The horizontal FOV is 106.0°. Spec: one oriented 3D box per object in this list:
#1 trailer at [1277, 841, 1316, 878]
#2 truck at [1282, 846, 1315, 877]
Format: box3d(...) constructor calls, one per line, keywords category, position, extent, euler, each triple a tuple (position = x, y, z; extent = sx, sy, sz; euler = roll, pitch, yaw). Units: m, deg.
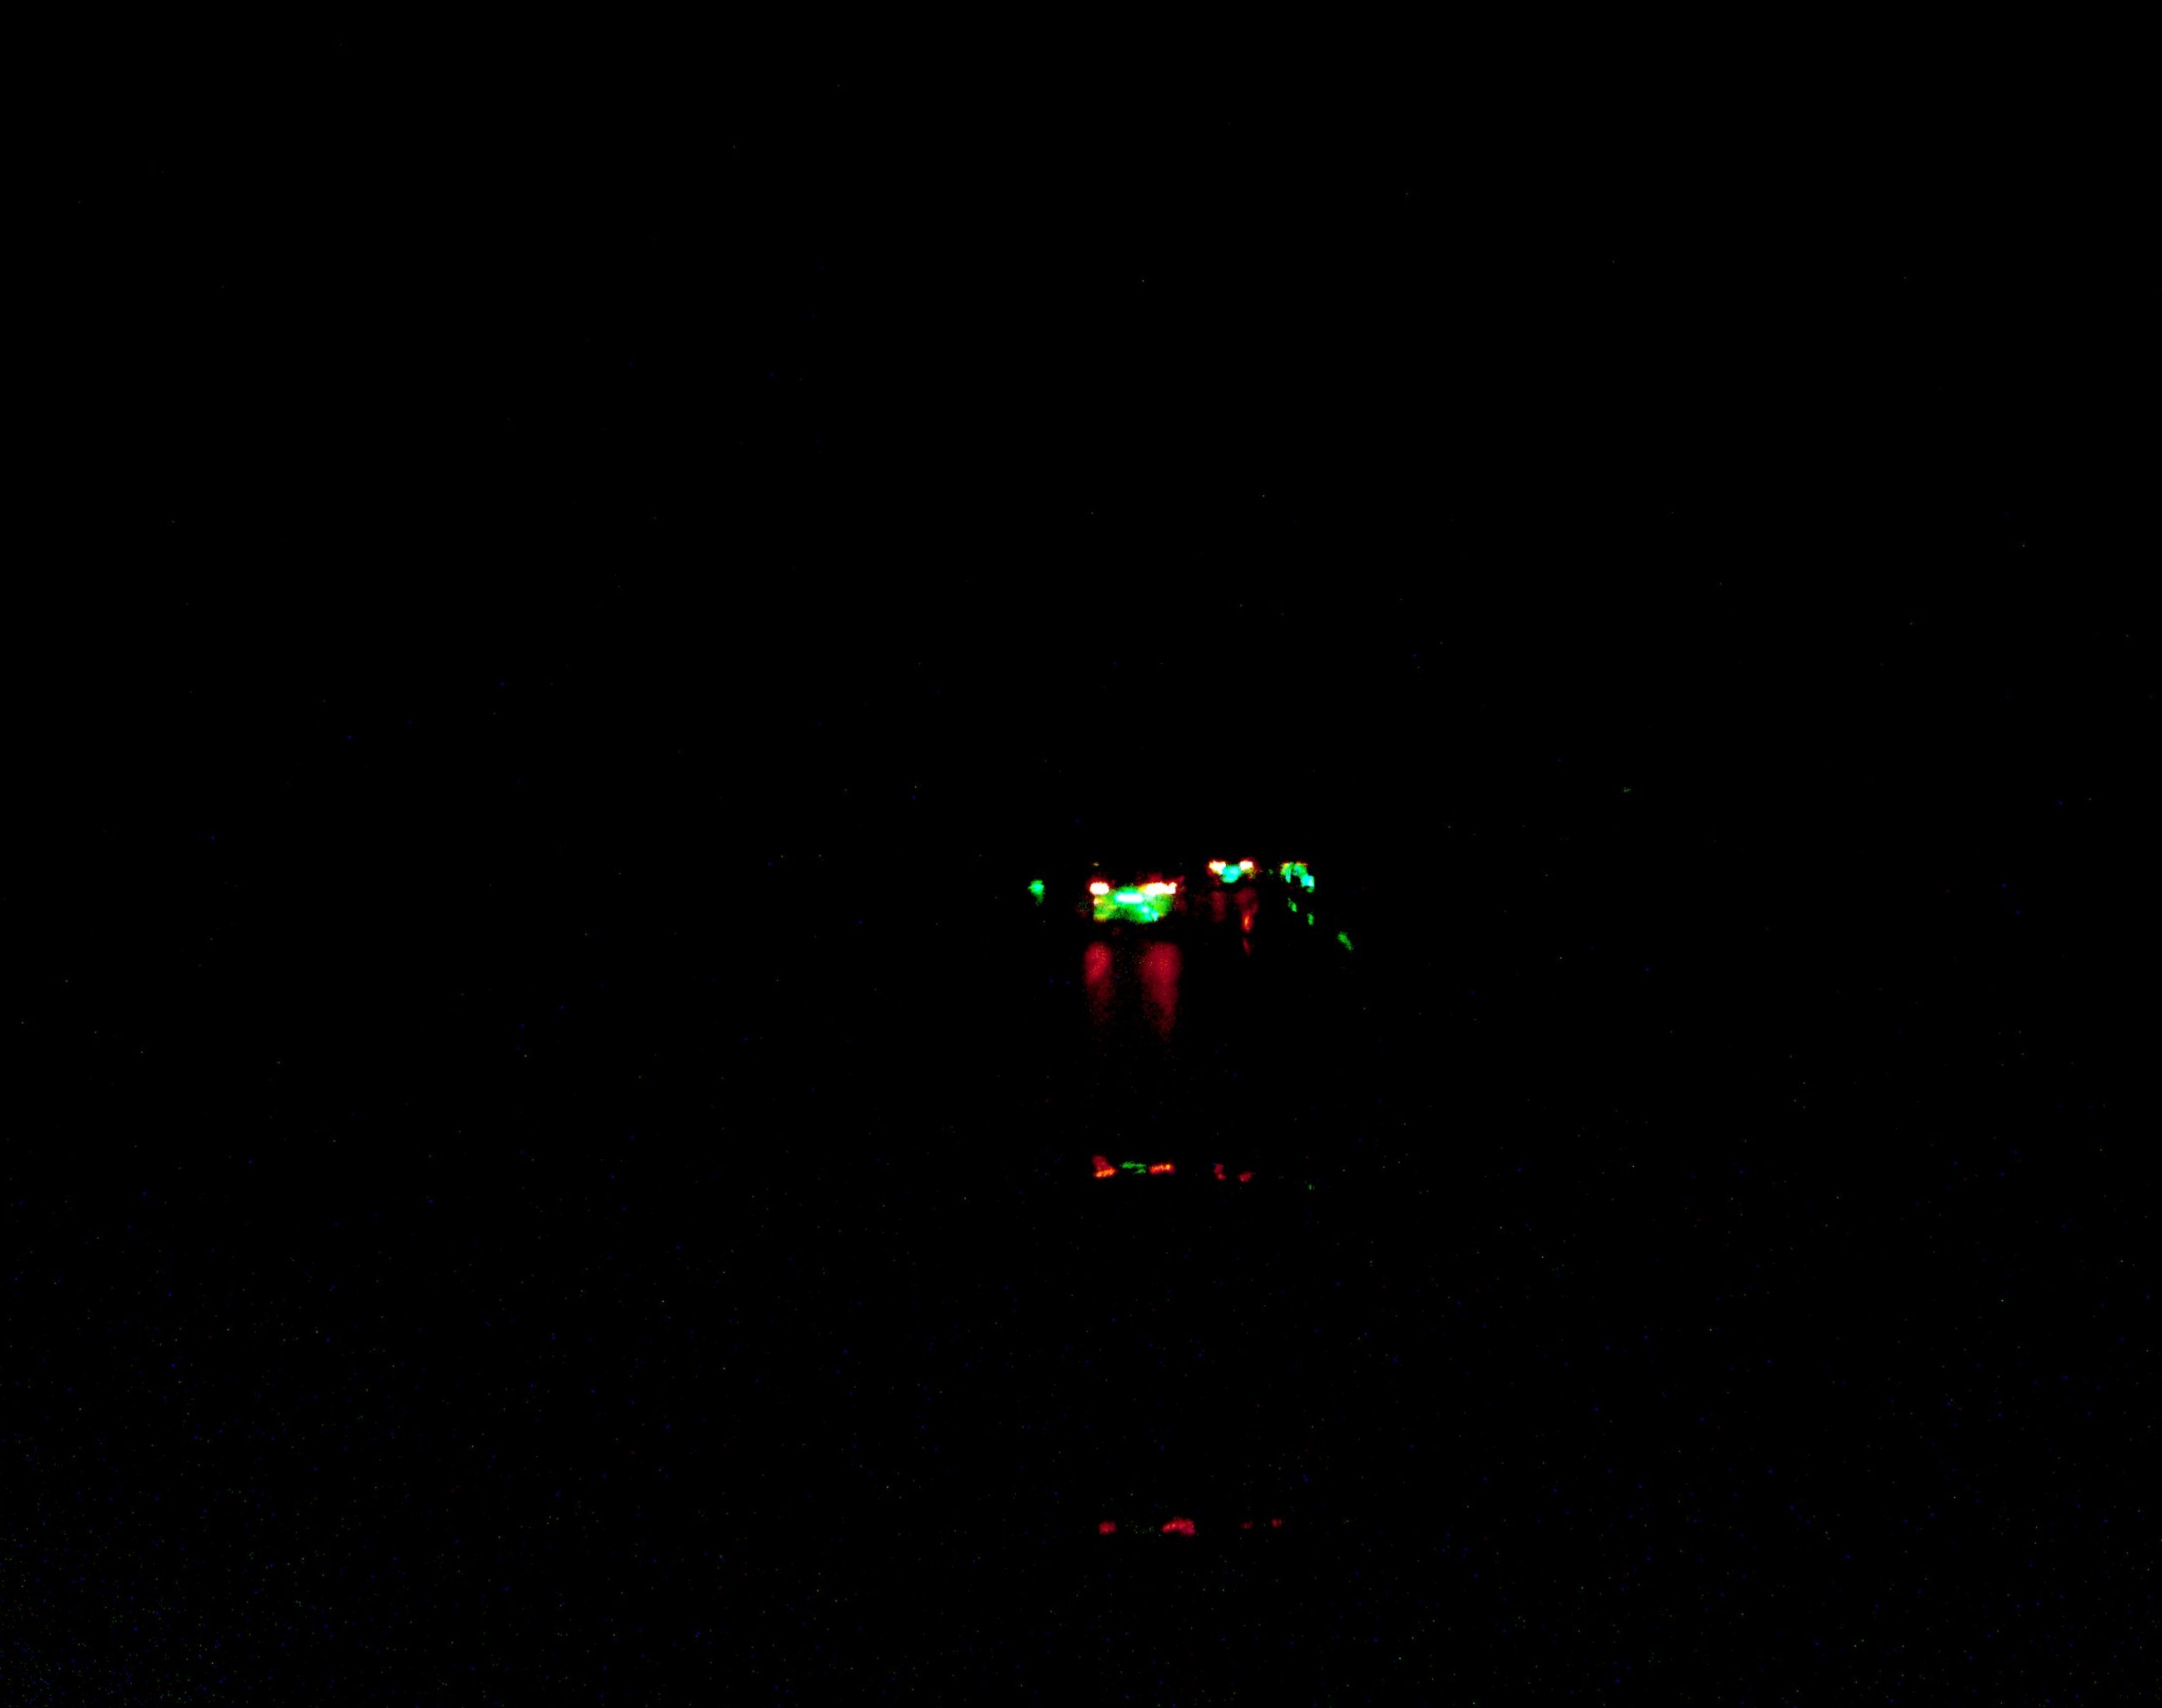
box3d(category="trailer", position=(13.917, 0.458, 52.362), extent=(2.062, 2.014, 10.690), euler=(-4, -2, 16))
box3d(category="truck", position=(15.536, 0.564, 58.162), extent=(2.055, 2.014, 4.900), euler=(-4, -2, 16))
